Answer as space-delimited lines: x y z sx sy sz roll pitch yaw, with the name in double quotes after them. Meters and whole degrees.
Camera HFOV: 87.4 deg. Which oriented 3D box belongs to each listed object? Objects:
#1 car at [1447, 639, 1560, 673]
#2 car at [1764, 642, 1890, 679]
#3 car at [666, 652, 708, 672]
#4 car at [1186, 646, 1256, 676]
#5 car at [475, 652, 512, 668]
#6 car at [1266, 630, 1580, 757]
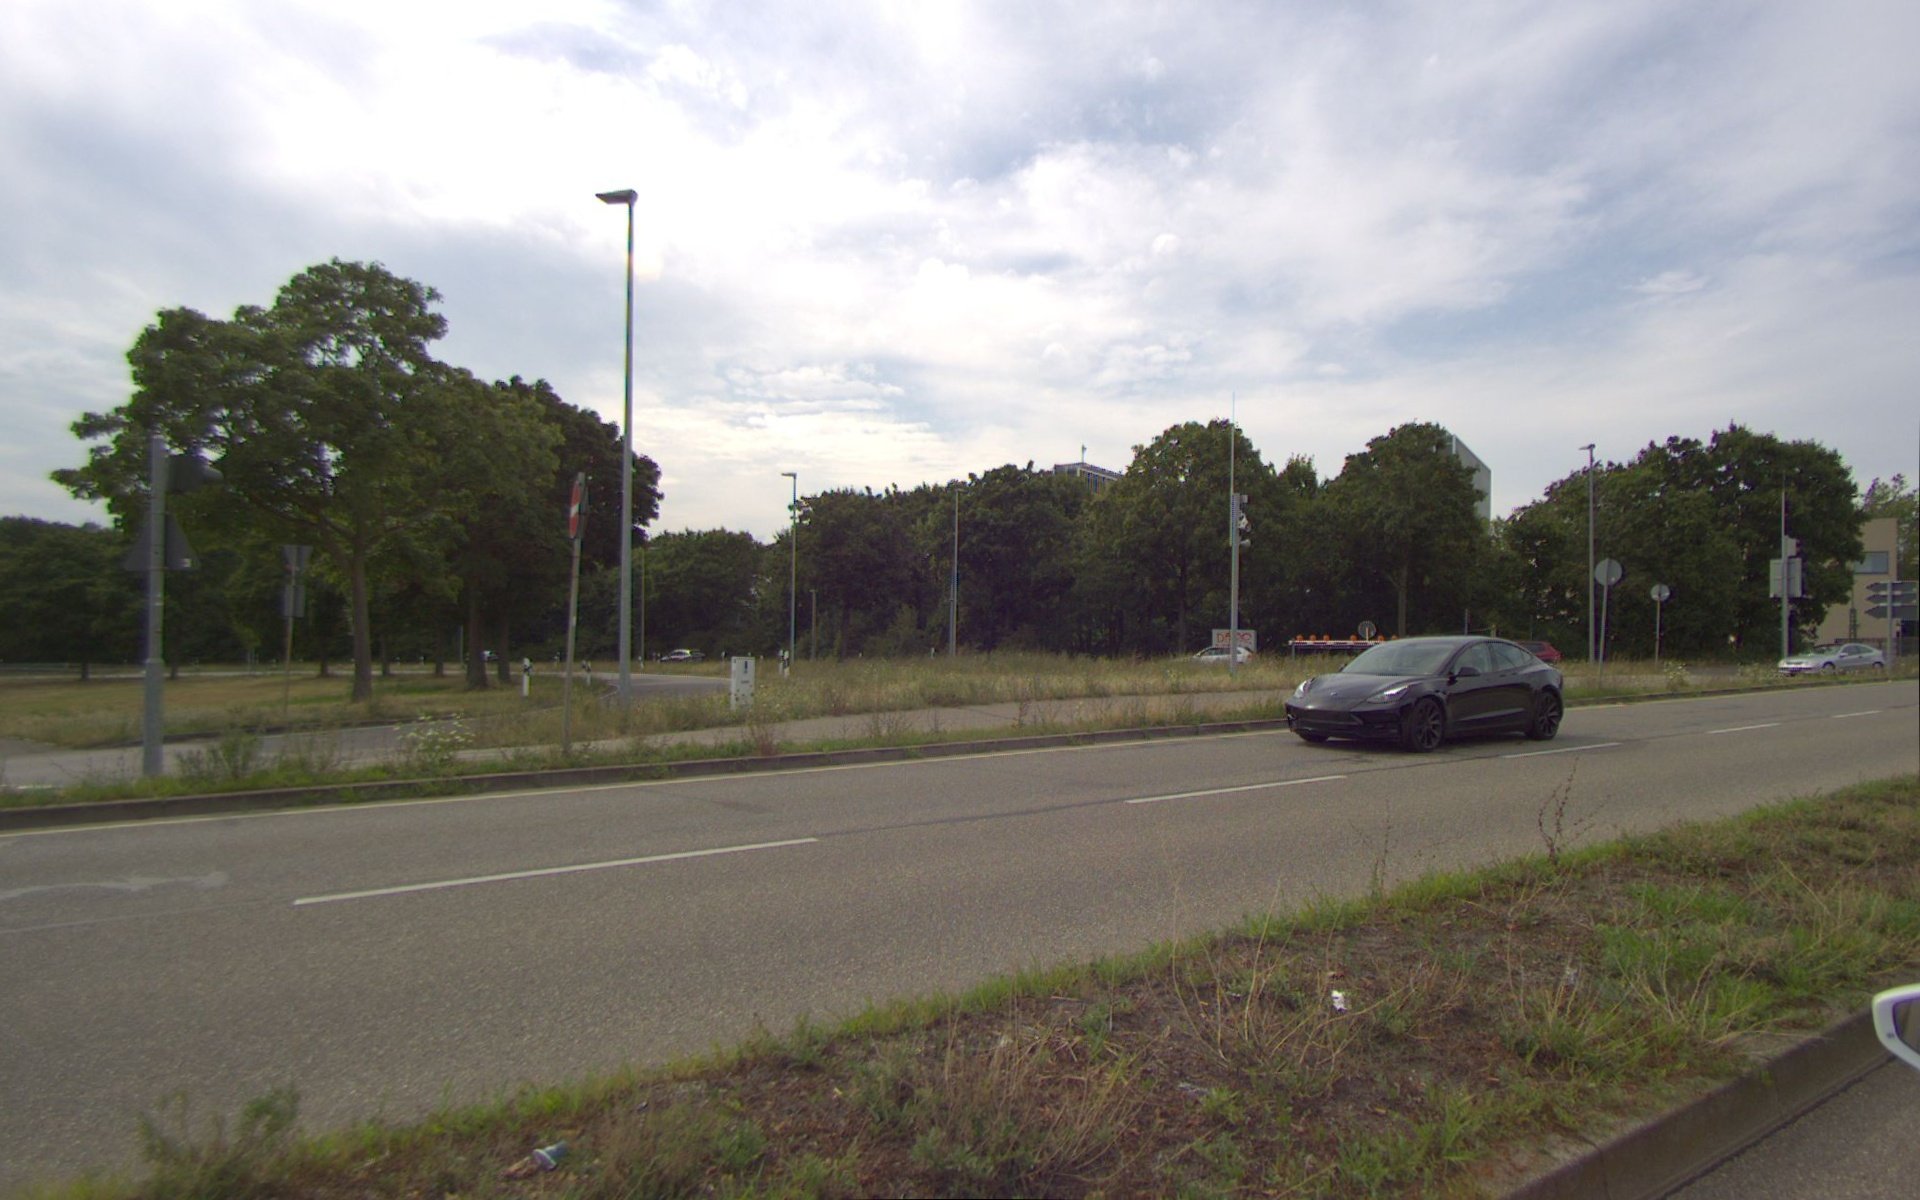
23.190 2.363 43.020 4.098 1.386 1.517 -1 -2 22 "car"
36.593 2.540 42.426 4.383 1.465 1.747 0 -2 -13 "car"
-21.195 4.807 77.855 1.563 1.414 3.831 1 -2 -43 "car"
11.867 2.744 45.628 2.951 1.290 1.272 -1 -2 22 "car"
-45.444 5.817 97.902 3.815 1.414 1.569 -1 -2 35 "car"
6.423 1.156 13.777 4.514 1.495 1.736 1 -2 -32 "car"
